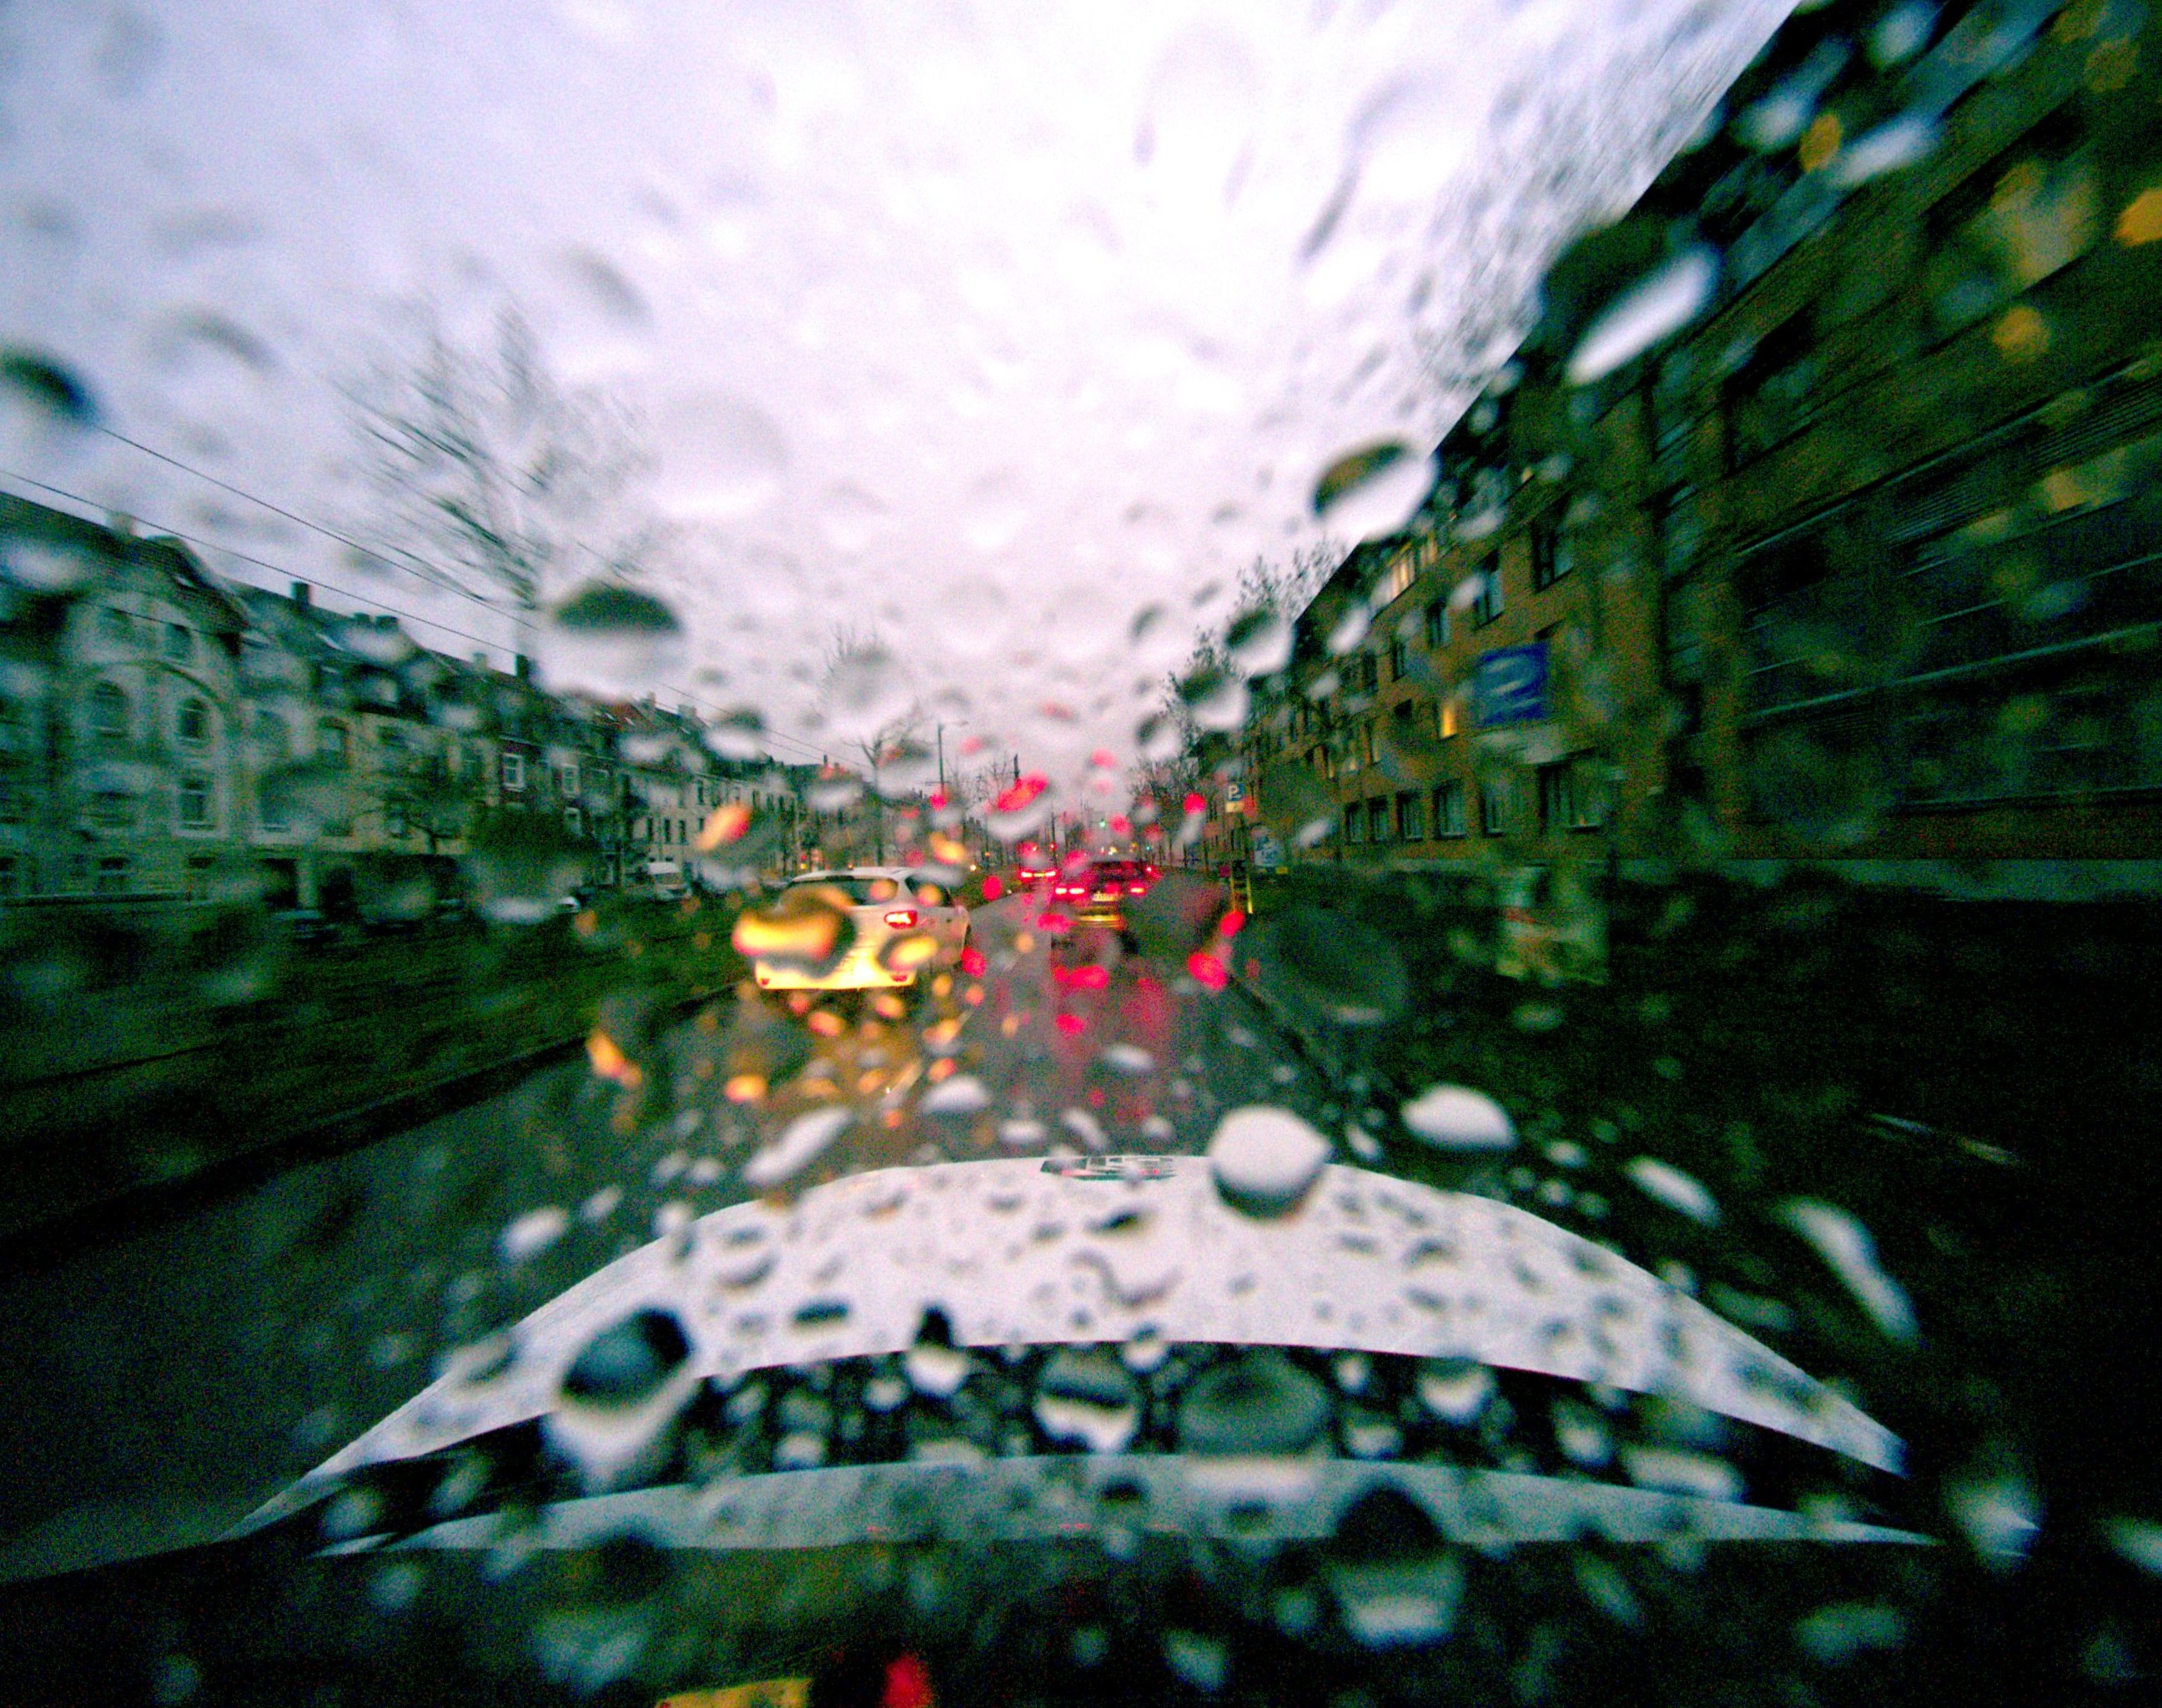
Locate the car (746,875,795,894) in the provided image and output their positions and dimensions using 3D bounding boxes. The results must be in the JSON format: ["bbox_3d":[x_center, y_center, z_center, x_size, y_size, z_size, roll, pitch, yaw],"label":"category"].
[{"bbox_3d":[-25.679,2.546,67.304,3.948,1.332,2.013,-4,-1,39],"label":"car"}]

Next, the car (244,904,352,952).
[{"bbox_3d":[-26.593,2.479,27.638,3.948,1.332,2.013,-4,-1,37],"label":"car"}]

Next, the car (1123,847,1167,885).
[{"bbox_3d":[3.206,0.604,41.629,1.986,1.744,4.002,-3,0,2],"label":"car"}]

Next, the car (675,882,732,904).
[{"bbox_3d":[-26.591,2.743,57.336,3.948,1.332,2.013,-4,-1,39],"label":"car"}]

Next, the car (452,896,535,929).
[{"bbox_3d":[-27.219,2.707,37.702,3.948,1.332,2.013,-4,-1,37],"label":"car"}]

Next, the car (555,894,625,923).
[{"bbox_3d":[-26.710,2.974,44.269,3.948,1.332,2.013,-4,-1,39],"label":"car"}]

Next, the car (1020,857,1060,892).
[{"bbox_3d":[-2.016,1.006,41.150,1.665,1.600,4.055,-2,-1,2],"label":"car"}]

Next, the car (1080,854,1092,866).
[{"bbox_3d":[0.855,1.088,139.257,1.987,1.915,3.999,-4,0,0],"label":"car"}]

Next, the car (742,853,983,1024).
[{"bbox_3d":[-2.359,0.831,9.898,1.665,1.600,4.055,-2,-1,2],"label":"car"}]

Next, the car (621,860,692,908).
[{"bbox_3d":[-26.907,1.926,51.512,5.792,2.797,2.012,-4,-1,43],"label":"car"}]

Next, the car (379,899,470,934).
[{"bbox_3d":[-26.087,2.472,32.321,3.948,1.169,2.013,-4,-1,39],"label":"car"}]

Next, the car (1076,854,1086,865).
[{"bbox_3d":[-0.052,1.149,169.315,1.809,2.013,4.003,-3,0,2],"label":"car"}]

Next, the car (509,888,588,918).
[{"bbox_3d":[-26.877,2.482,41.078,3.948,1.332,2.013,-4,-1,36],"label":"car"}]

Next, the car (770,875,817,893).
[{"bbox_3d":[-25.014,2.574,70.819,3.948,1.332,2.013,-4,-1,39],"label":"car"}]

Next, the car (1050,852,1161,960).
[{"bbox_3d":[0.445,0.810,14.535,1.665,1.600,4.055,-2,-1,2],"label":"car"}]

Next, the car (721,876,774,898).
[{"bbox_3d":[-26.318,2.622,64.215,3.948,1.486,2.013,-4,-1,36],"label":"car"}]
